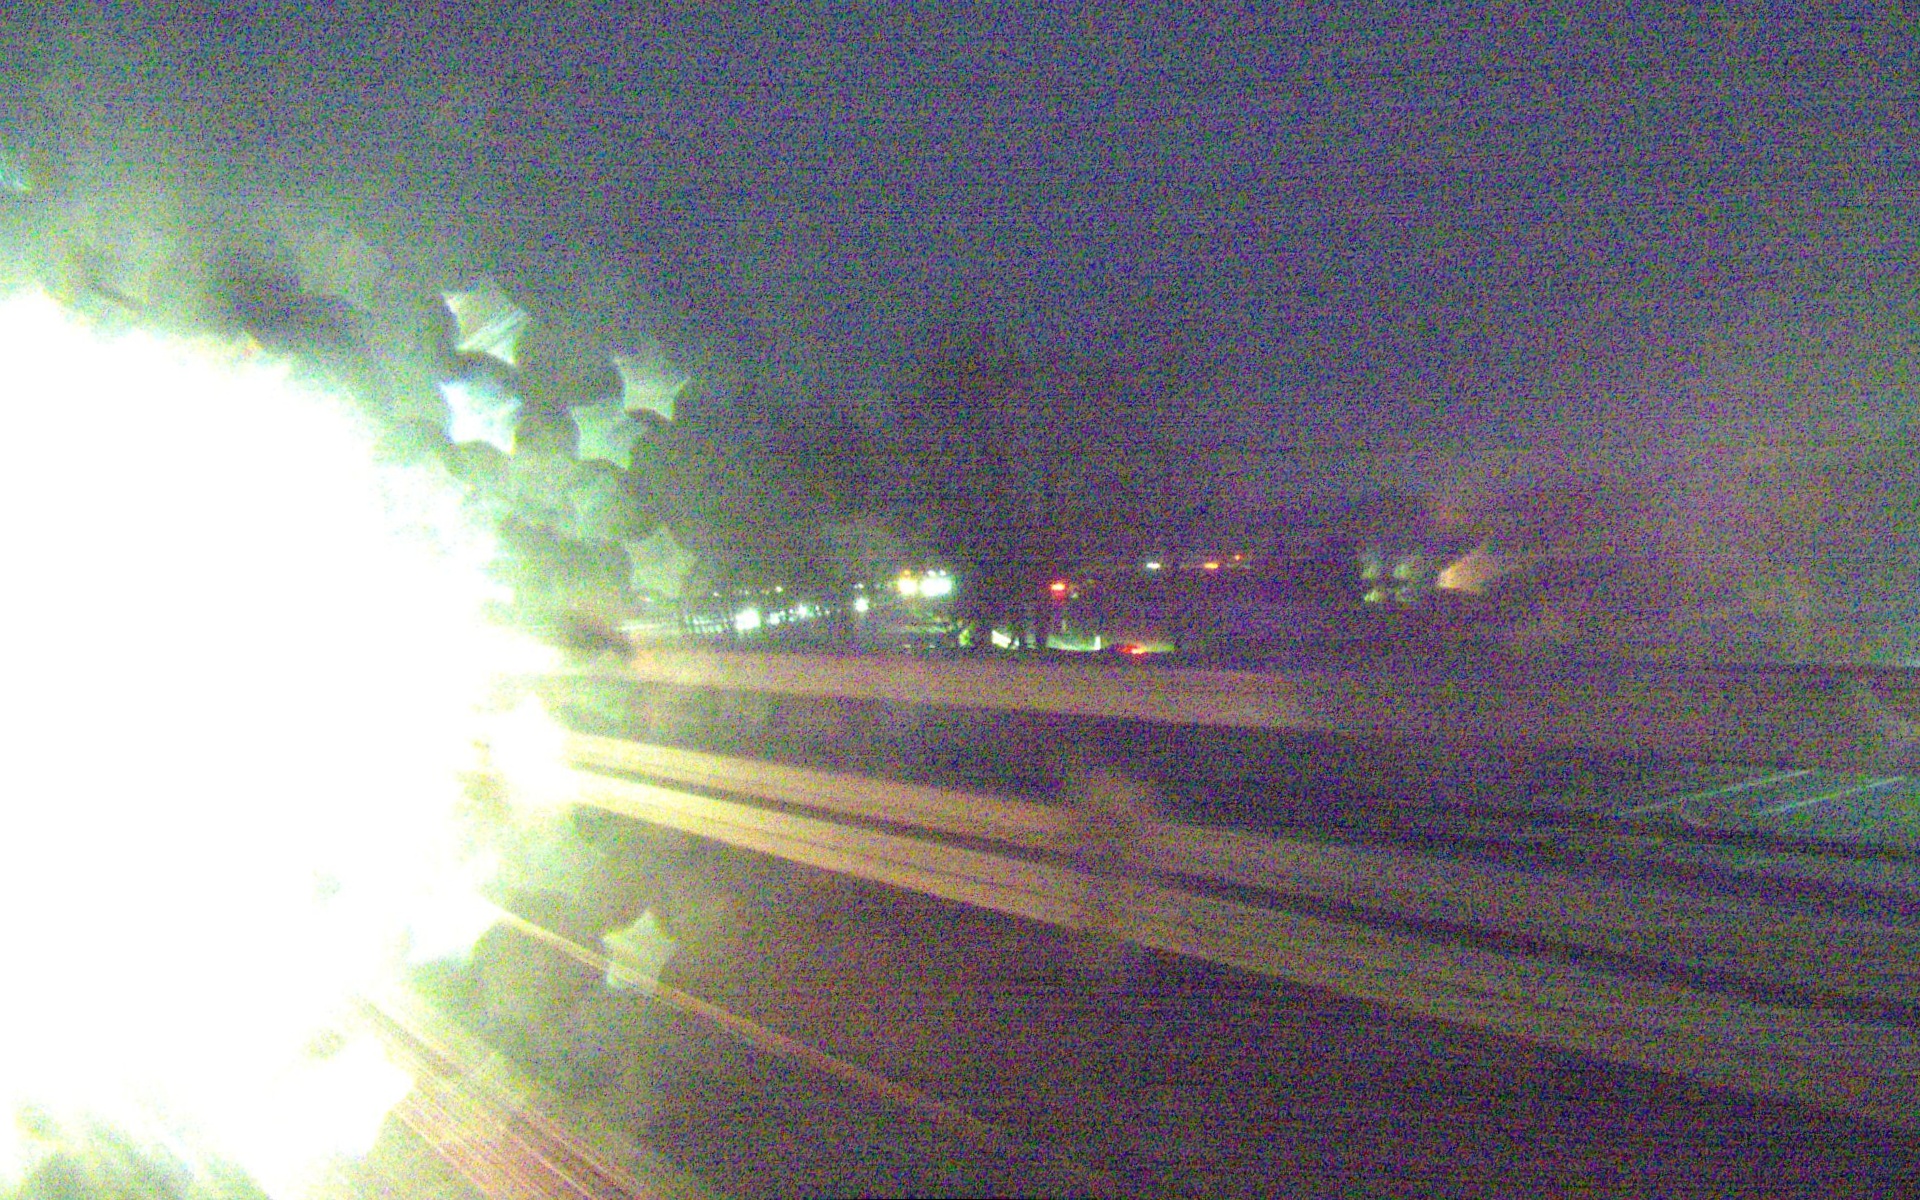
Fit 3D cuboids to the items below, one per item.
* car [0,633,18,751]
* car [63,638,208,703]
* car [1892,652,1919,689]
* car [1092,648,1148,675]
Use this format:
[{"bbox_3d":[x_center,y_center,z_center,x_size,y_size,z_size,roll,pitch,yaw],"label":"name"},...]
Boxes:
[{"bbox_3d":[-12.206,1.104,11.605,1.660,1.462,3.650,1,-3,-37],"label":"car"},{"bbox_3d":[-19.036,1.585,23.555,1.731,1.322,4.098,0,-2,-26],"label":"car"},{"bbox_3d":[47.664,3.459,48.633,3.795,1.777,1.714,1,-2,17],"label":"car"},{"bbox_3d":[12.288,4.702,78.022,1.890,1.765,4.258,1,0,-32],"label":"car"}]
